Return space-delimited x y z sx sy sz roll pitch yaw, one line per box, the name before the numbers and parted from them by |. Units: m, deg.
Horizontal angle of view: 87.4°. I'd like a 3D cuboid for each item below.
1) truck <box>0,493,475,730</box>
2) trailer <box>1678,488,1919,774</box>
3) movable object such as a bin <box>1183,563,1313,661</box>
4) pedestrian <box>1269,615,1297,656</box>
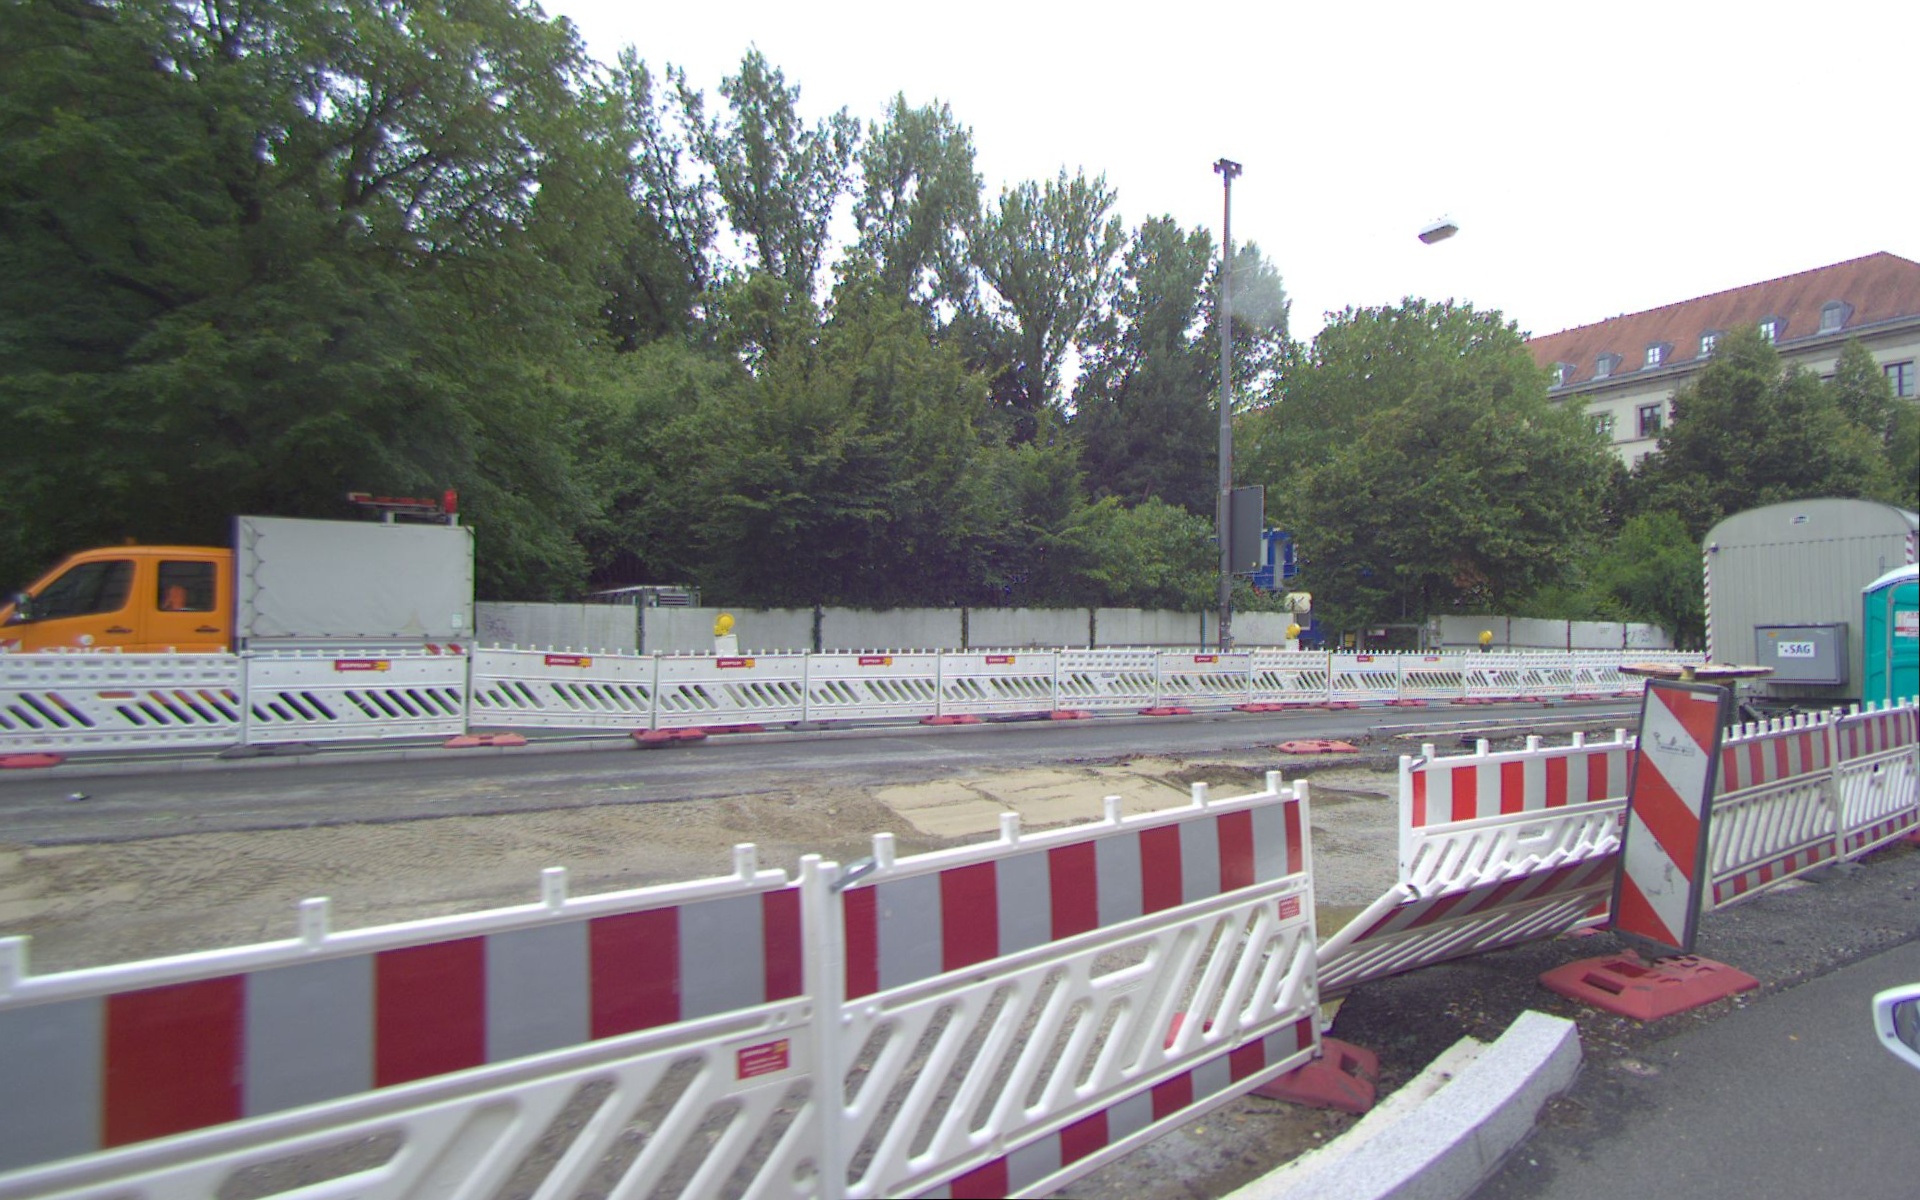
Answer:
truck | -9.895 0.191 13.662 5.801 2.764 1.984 1 -1 -30
trailer | 13.225 0.466 14.651 7.445 3.286 2.212 2 -2 -36
movable object such as a bin | 11.385 0.497 39.585 5.121 3.677 1.983 1 -1 -32
pedestrian | 12.395 1.358 38.555 0.777 1.555 0.677 1 -1 -31
